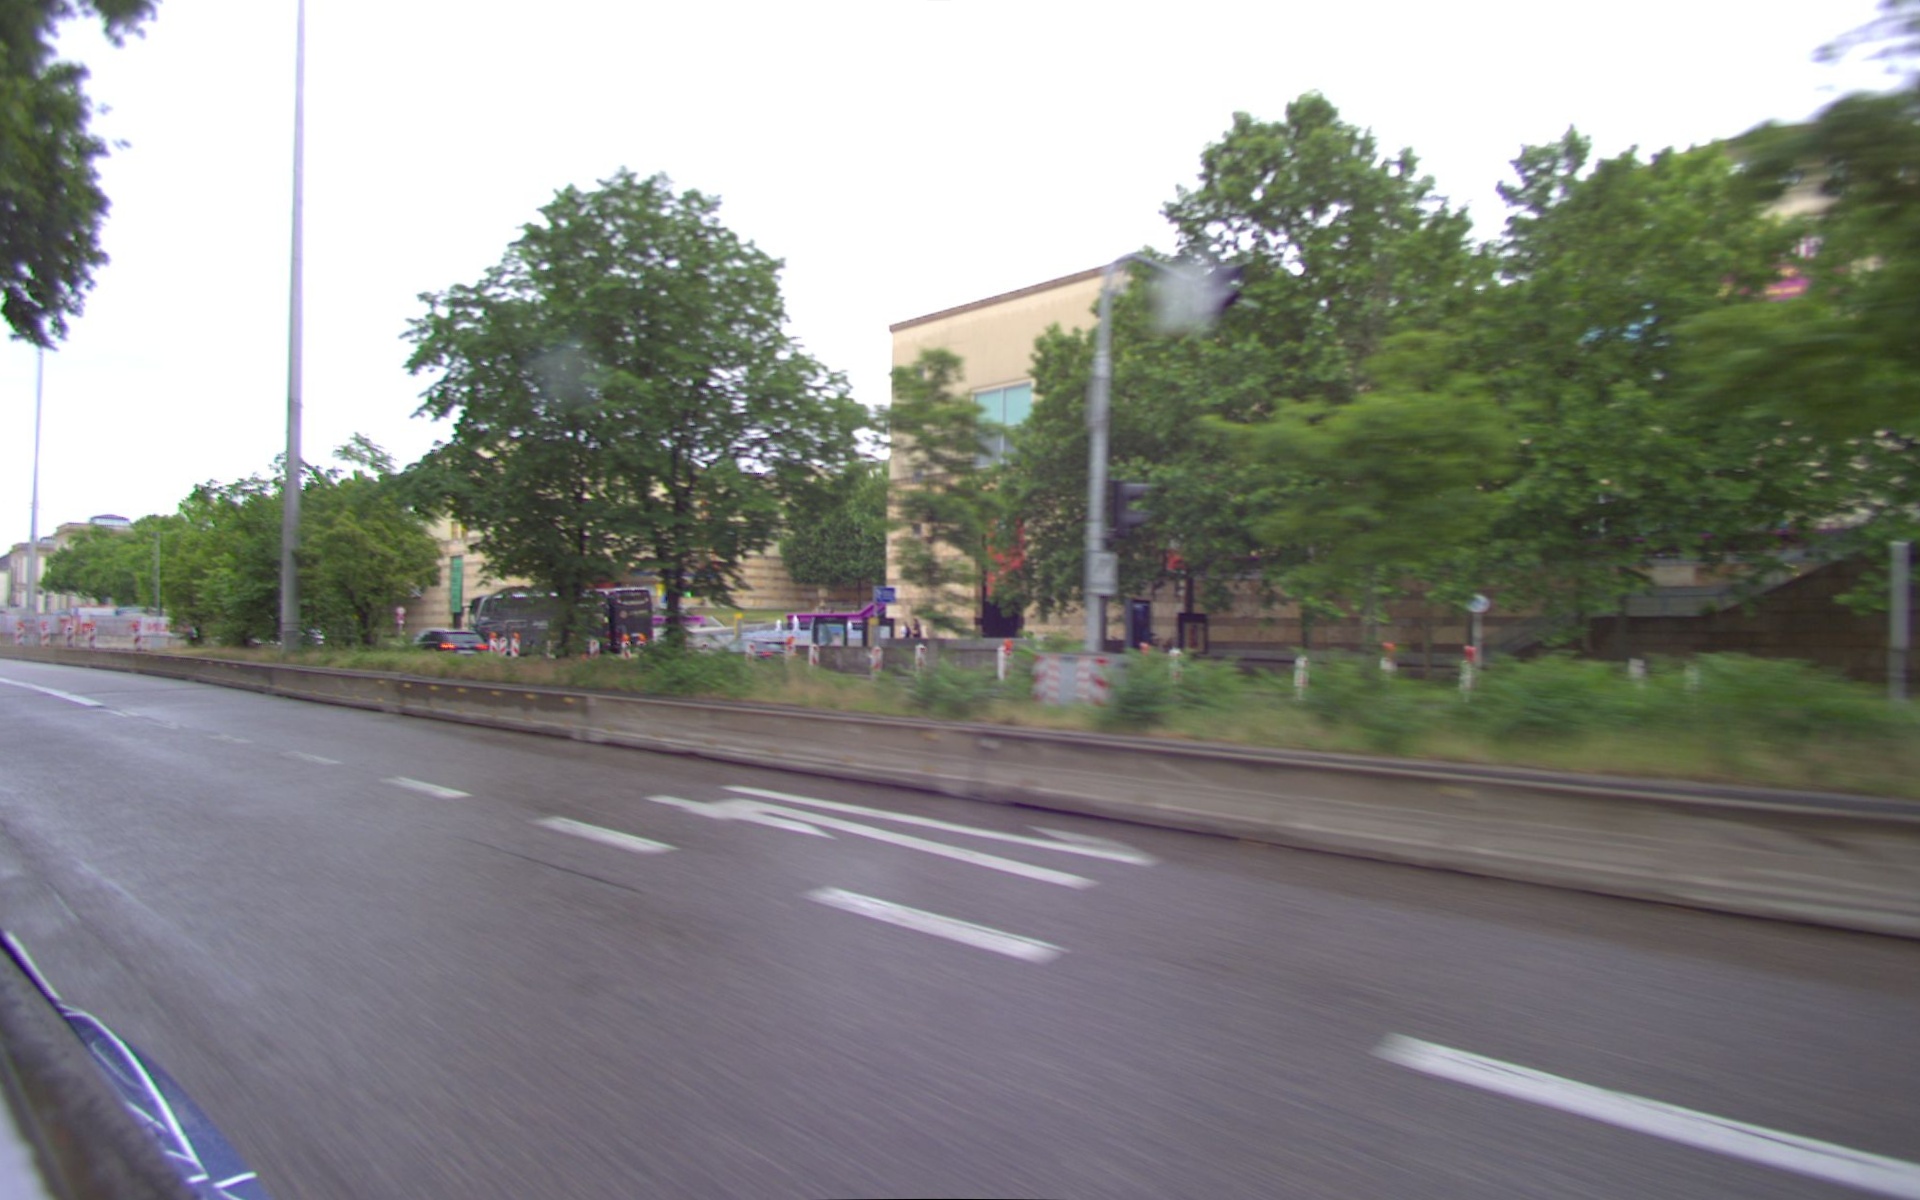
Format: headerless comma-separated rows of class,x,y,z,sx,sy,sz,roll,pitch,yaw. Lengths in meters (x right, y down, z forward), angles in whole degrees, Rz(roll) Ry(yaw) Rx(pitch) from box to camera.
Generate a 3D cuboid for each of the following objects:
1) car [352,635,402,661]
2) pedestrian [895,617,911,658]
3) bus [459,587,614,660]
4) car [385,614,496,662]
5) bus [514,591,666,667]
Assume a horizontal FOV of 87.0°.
car,-36.025,2.943,62.502,3.209,1.512,1.576,-1,-1,37
pedestrian,-2.837,1.875,50.511,0.511,2.029,0.473,0,-3,40
bus,-25.108,1.321,59.227,14.599,3.840,2.773,-1,-1,44
car,-18.366,1.329,35.737,3.994,1.608,1.975,-1,-2,37
bus,-23.092,1.728,62.470,13.495,4.284,3.084,-1,-1,43
